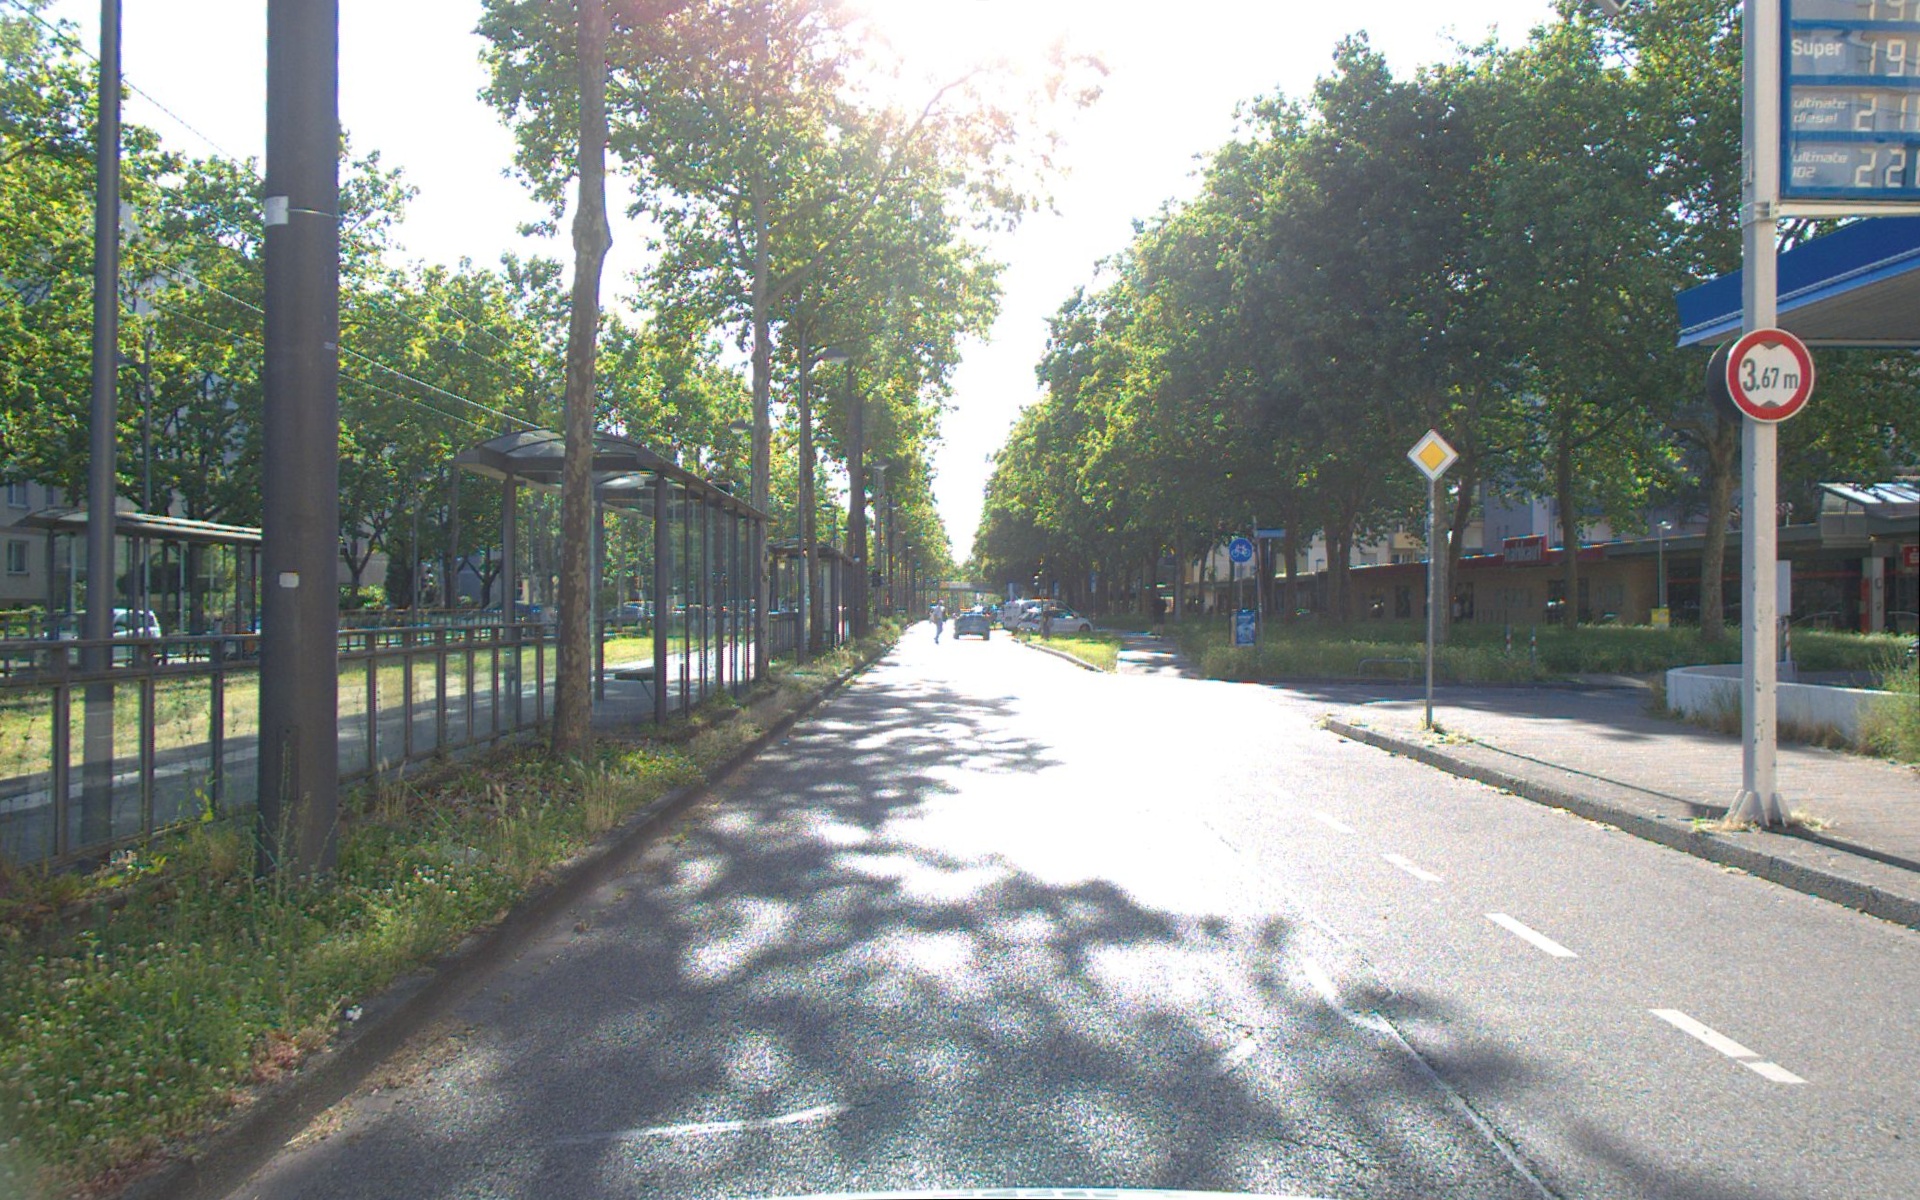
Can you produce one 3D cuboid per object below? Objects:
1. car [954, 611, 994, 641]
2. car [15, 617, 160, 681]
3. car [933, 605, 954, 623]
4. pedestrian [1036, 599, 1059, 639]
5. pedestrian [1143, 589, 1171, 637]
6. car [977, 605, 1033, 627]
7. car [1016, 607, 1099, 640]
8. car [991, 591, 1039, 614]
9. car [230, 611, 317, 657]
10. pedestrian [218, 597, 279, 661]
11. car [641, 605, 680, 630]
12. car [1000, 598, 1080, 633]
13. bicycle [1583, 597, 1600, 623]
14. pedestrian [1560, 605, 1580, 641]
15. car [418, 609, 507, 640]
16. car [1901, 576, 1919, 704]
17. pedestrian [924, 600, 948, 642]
[{"bbox_3d":[0.698,1.272,82.889,1.883,1.436,3.999,1,0,-1],"label":"car"},{"bbox_3d":[-23.214,1.274,44.167,1.678,1.573,3.934,-1,0,2],"label":"car"},{"bbox_3d":[-1.494,1.252,149.540,1.811,1.562,3.866,0,0,0],"label":"car"},{"bbox_3d":[3.832,0.827,72.569,0.704,1.736,0.646,-1,-1,-35],"label":"pedestrian"},{"bbox_3d":[7.889,0.518,66.181,0.910,1.918,0.797,0,0,-15],"label":"pedestrian"},{"bbox_3d":[3.135,1.101,113.775,3.909,1.397,1.562,-1,0,-45],"label":"car"},{"bbox_3d":[4.962,1.192,84.208,3.948,1.495,1.741,-3,0,-32],"label":"car"},{"bbox_3d":[4.686,0.221,140.102,4.048,1.842,1.627,-1,0,-41],"label":"car"},{"bbox_3d":[-20.207,0.983,48.786,1.237,1.263,3.375,-1,0,-2],"label":"car"},{"bbox_3d":[-14.557,0.594,33.846,0.821,1.283,0.798,1,0,28],"label":"pedestrian"},{"bbox_3d":[-19.419,1.138,107.306,1.678,1.573,3.934,-1,0,1],"label":"car"},{"bbox_3d":[4.601,0.877,94.507,4.629,1.885,1.803,-1,0,-41],"label":"car"},{"bbox_3d":[29.170,0.472,76.384,0.585,1.200,1.849,1,0,26],"label":"bicycle"},{"bbox_3d":[28.398,1.062,76.990,0.658,1.612,0.715,0,1,-6],"label":"pedestrian"},{"bbox_3d":[-24.195,1.181,80.570,1.806,1.460,3.806,-1,0,40],"label":"car"},{"bbox_3d":[12.003,0.471,17.564,1.685,1.489,4.004,1,0,-1],"label":"car"},{"bbox_3d":[-1.008,0.875,69.753,0.824,1.752,0.831,-1,0,14],"label":"pedestrian"}]
